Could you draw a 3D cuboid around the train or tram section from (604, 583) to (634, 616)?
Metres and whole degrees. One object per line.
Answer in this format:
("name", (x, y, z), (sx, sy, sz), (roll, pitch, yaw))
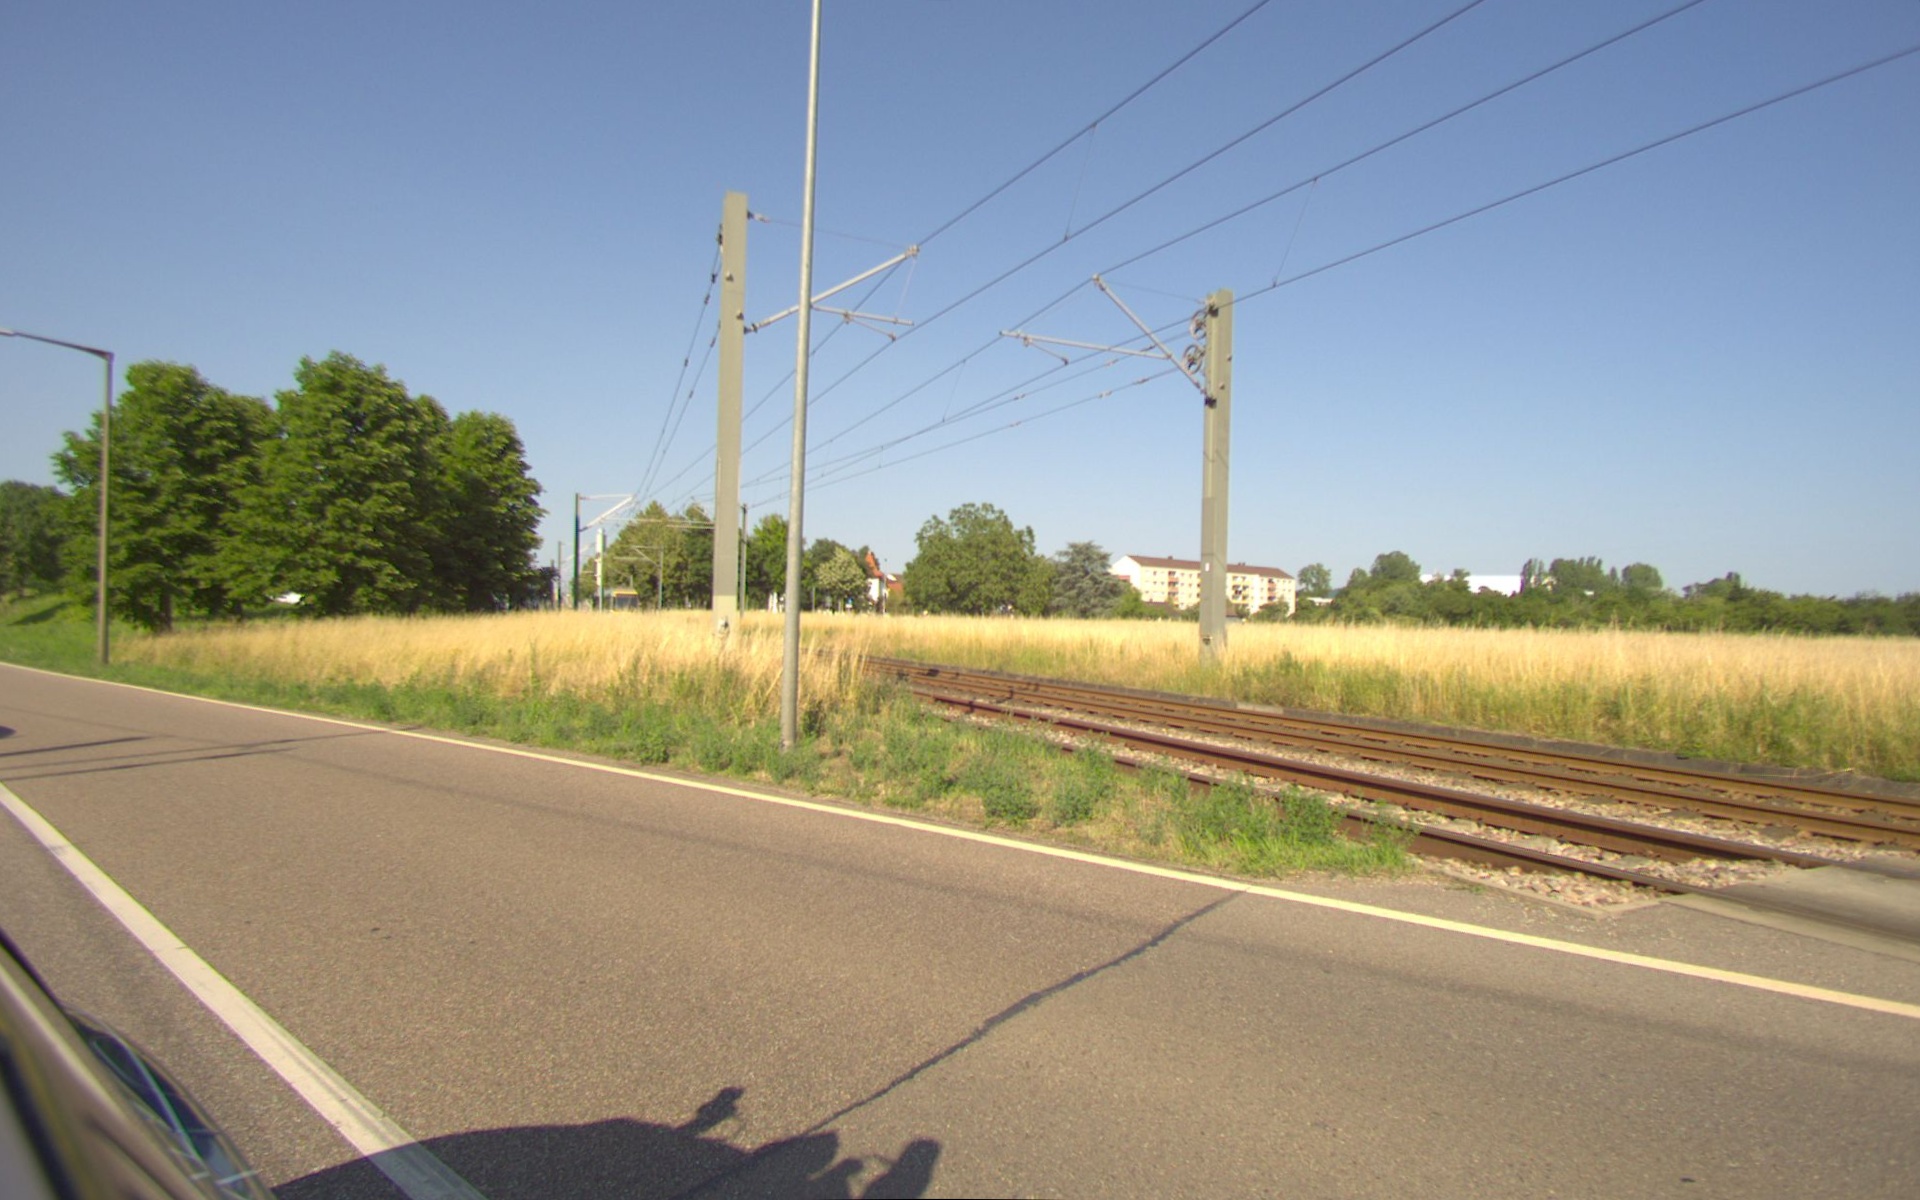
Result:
("train or tram section", (-37.432, -0.085, 111.425), (2.877, 3.480, 12.203), (0, 0, -17))

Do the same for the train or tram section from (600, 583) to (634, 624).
("train or tram section", (-33.413, 0.174, 98.799), (2.866, 3.595, 14.307), (0, 1, -18))
